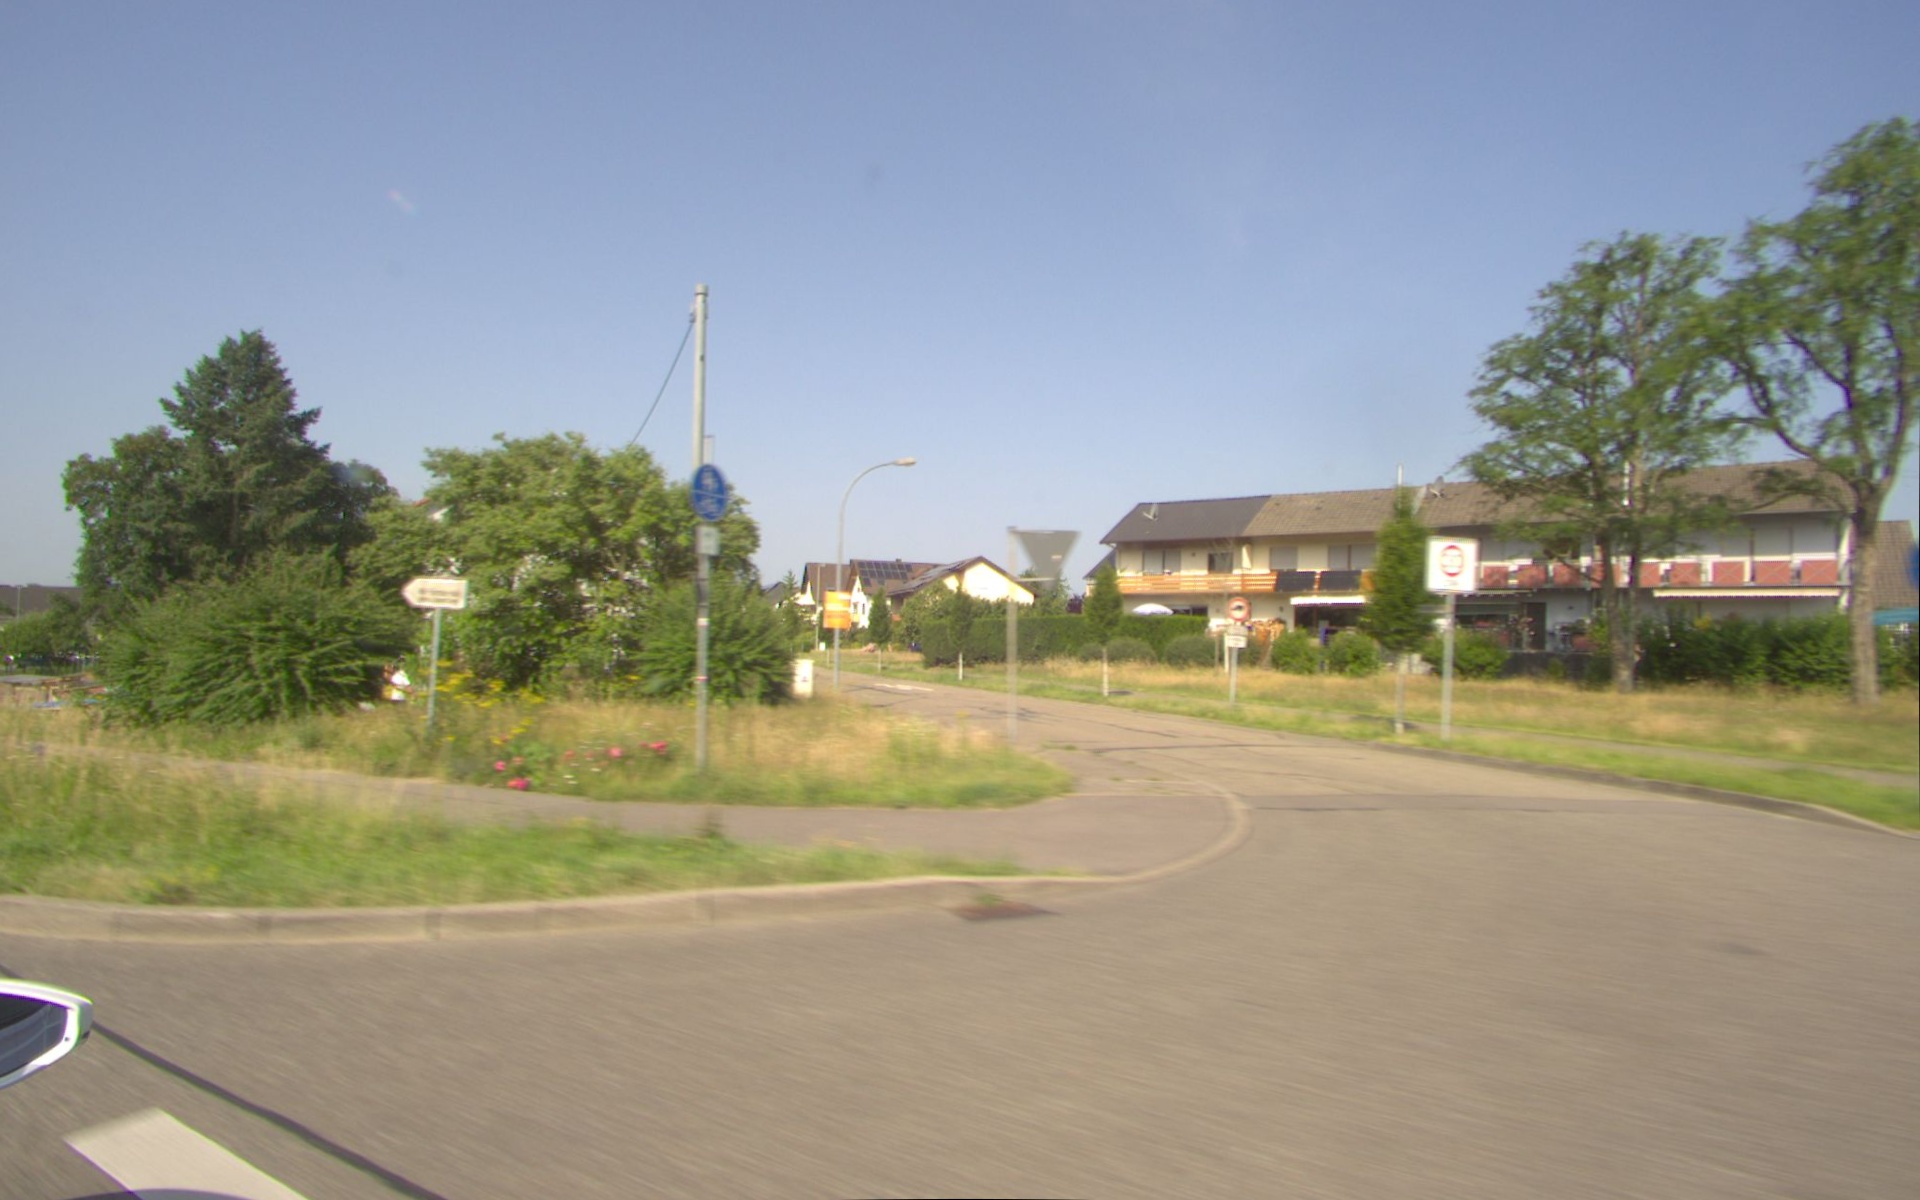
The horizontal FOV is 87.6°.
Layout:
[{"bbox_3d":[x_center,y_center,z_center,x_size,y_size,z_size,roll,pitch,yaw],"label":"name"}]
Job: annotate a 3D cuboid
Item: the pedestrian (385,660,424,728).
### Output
[{"bbox_3d":[-14.064,2.373,25.355,0.682,1.635,0.455,-7,-4,18],"label":"pedestrian"}]
